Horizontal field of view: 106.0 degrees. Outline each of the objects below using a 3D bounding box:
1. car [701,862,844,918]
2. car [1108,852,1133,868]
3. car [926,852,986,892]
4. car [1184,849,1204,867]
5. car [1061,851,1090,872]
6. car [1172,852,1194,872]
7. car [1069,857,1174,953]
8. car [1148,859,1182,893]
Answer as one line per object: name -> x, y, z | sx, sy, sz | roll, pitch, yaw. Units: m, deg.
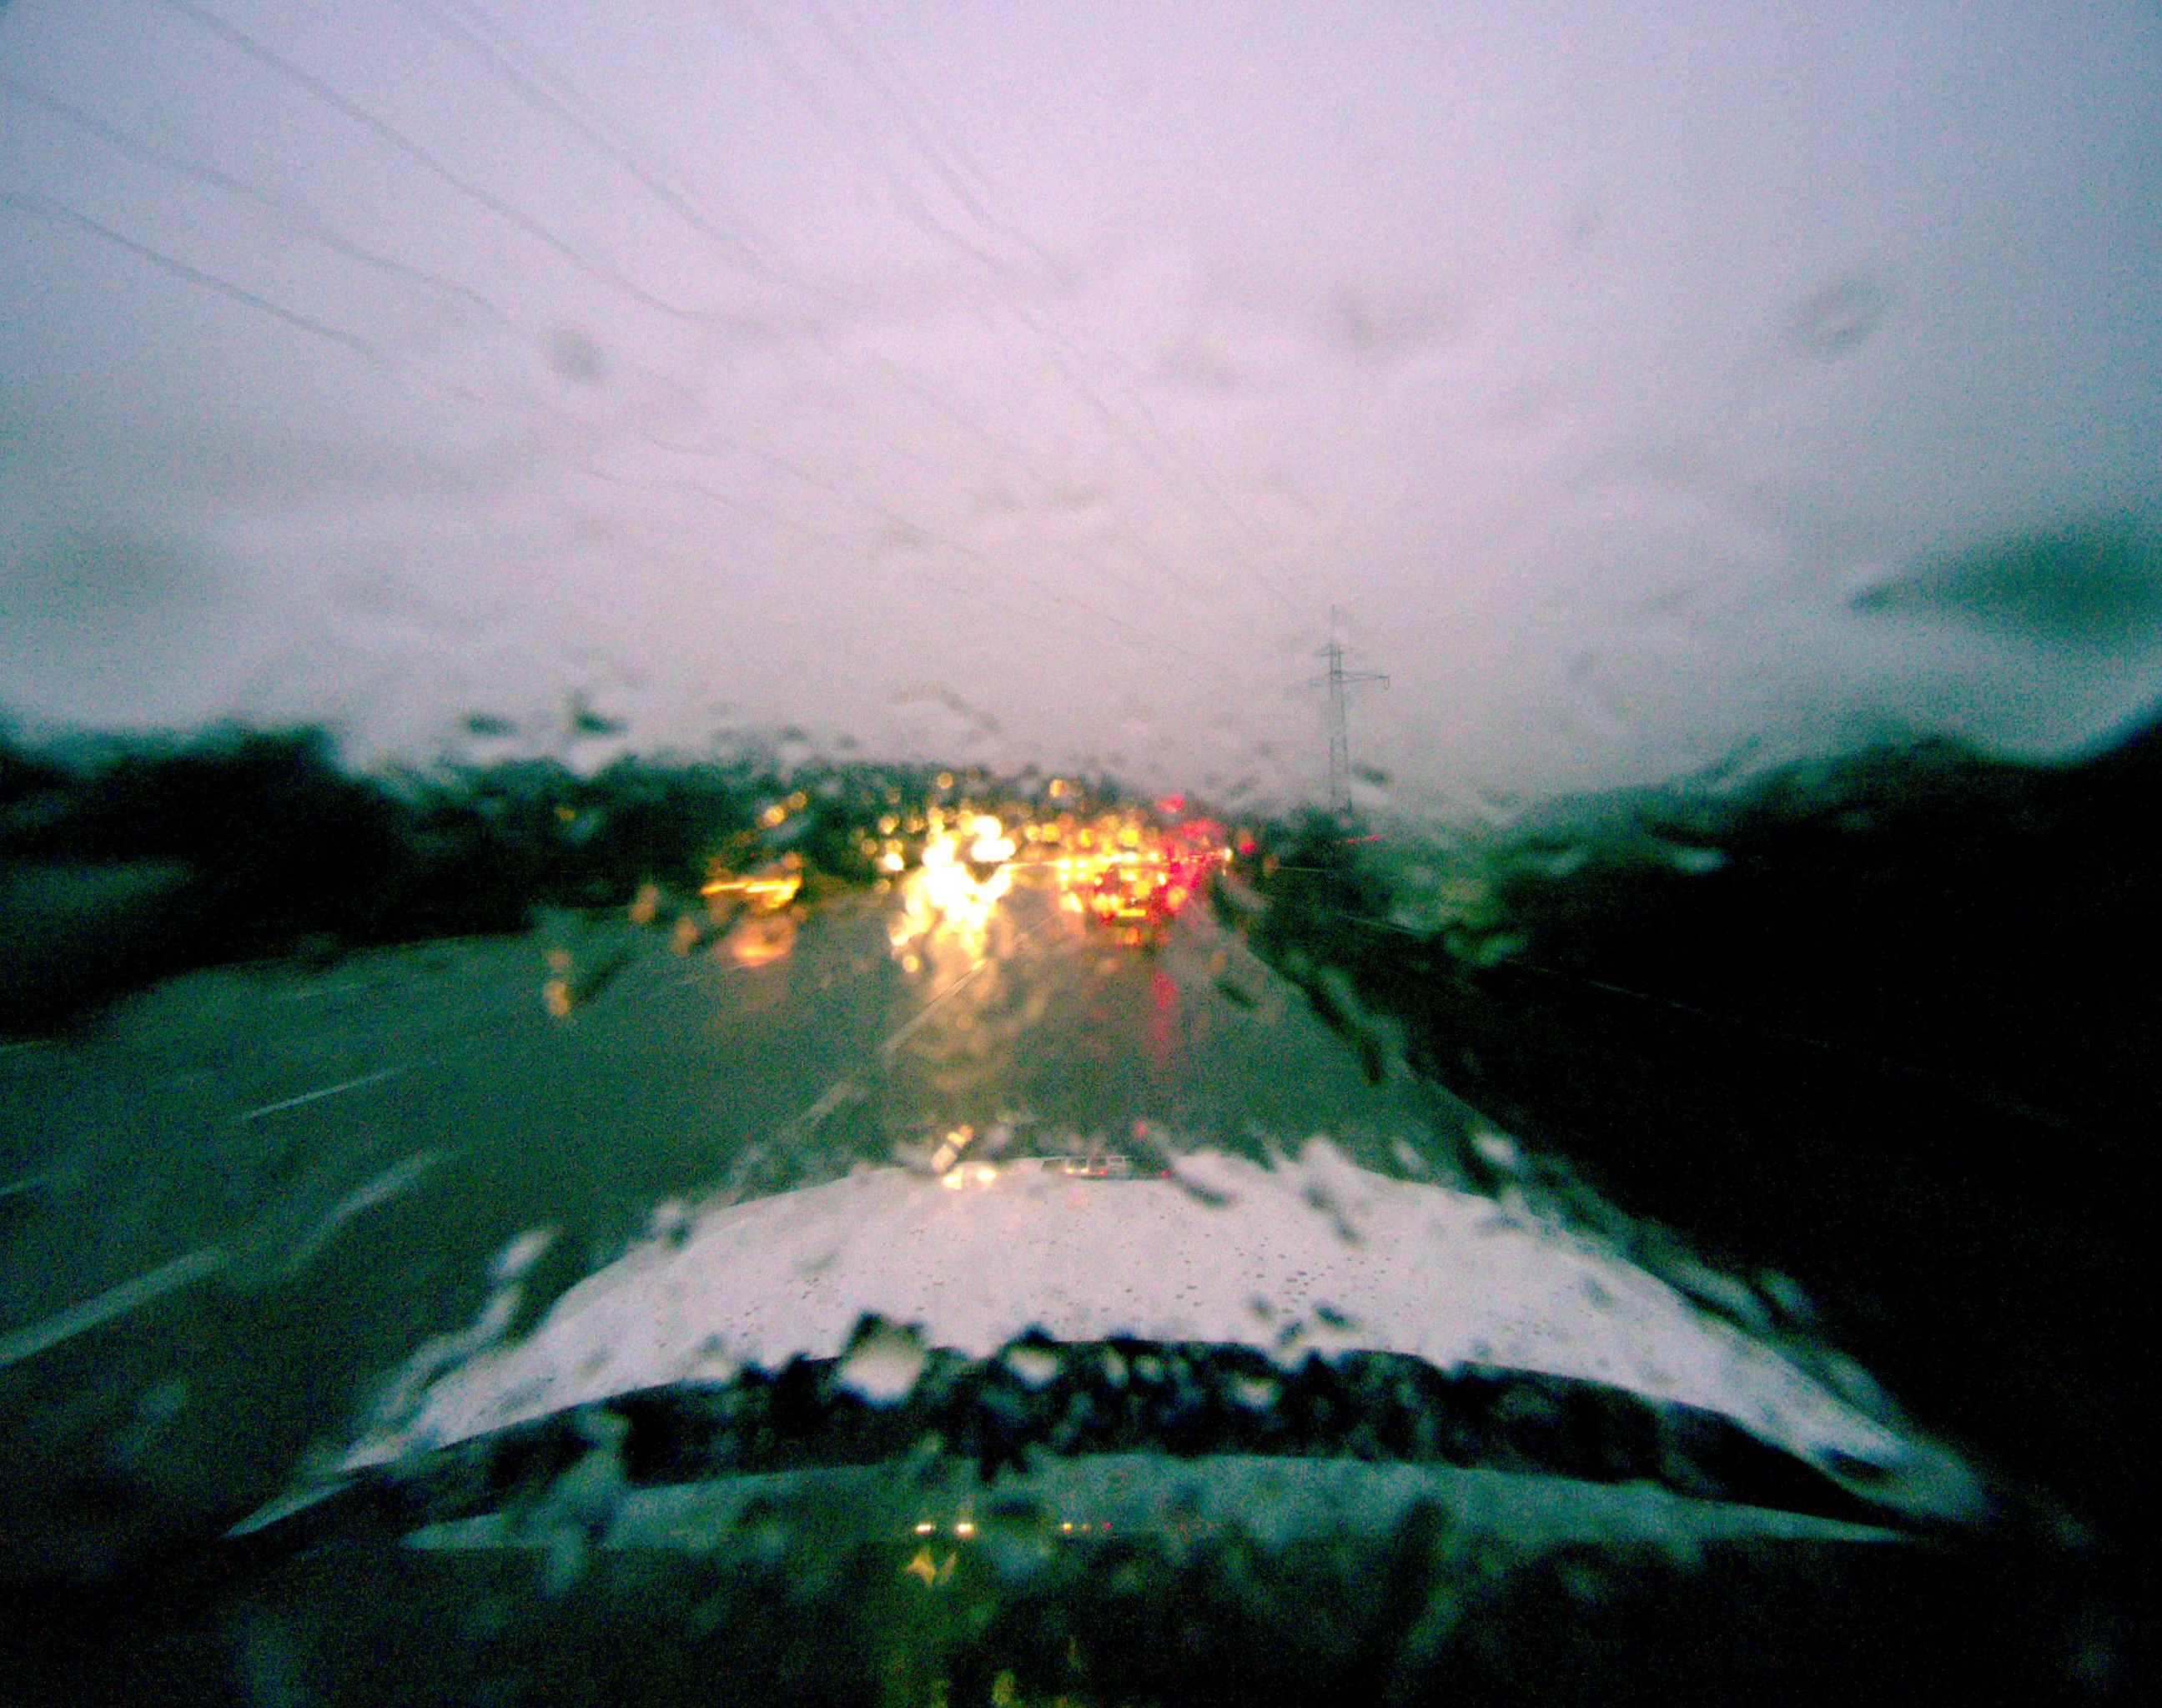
car -> -8.244, 0.914, 22.167 | 1.584, 1.244, 4.015 | 2, 1, 14
car -> 4.218, 0.602, 85.924 | 1.875, 1.589, 4.397 | 0, 0, 13
car -> -4.751, 0.652, 31.402 | 1.689, 1.417, 4.000 | 0, 0, 0
car -> 12.740, 0.465, 91.583 | 1.934, 1.744, 4.011 | 5, 0, 10
car -> -0.414, 0.550, 64.672 | 1.627, 1.472, 4.458 | 2, 1, 7
car -> 9.327, 0.702, 74.701 | 1.936, 1.745, 4.006 | -1, 0, 5
car -> 0.687, 0.902, 16.376 | 1.725, 1.532, 4.040 | -4, 0, -1
car -> 5.565, 1.422, 53.649 | 1.935, 2.014, 4.009 | -4, -1, 8
